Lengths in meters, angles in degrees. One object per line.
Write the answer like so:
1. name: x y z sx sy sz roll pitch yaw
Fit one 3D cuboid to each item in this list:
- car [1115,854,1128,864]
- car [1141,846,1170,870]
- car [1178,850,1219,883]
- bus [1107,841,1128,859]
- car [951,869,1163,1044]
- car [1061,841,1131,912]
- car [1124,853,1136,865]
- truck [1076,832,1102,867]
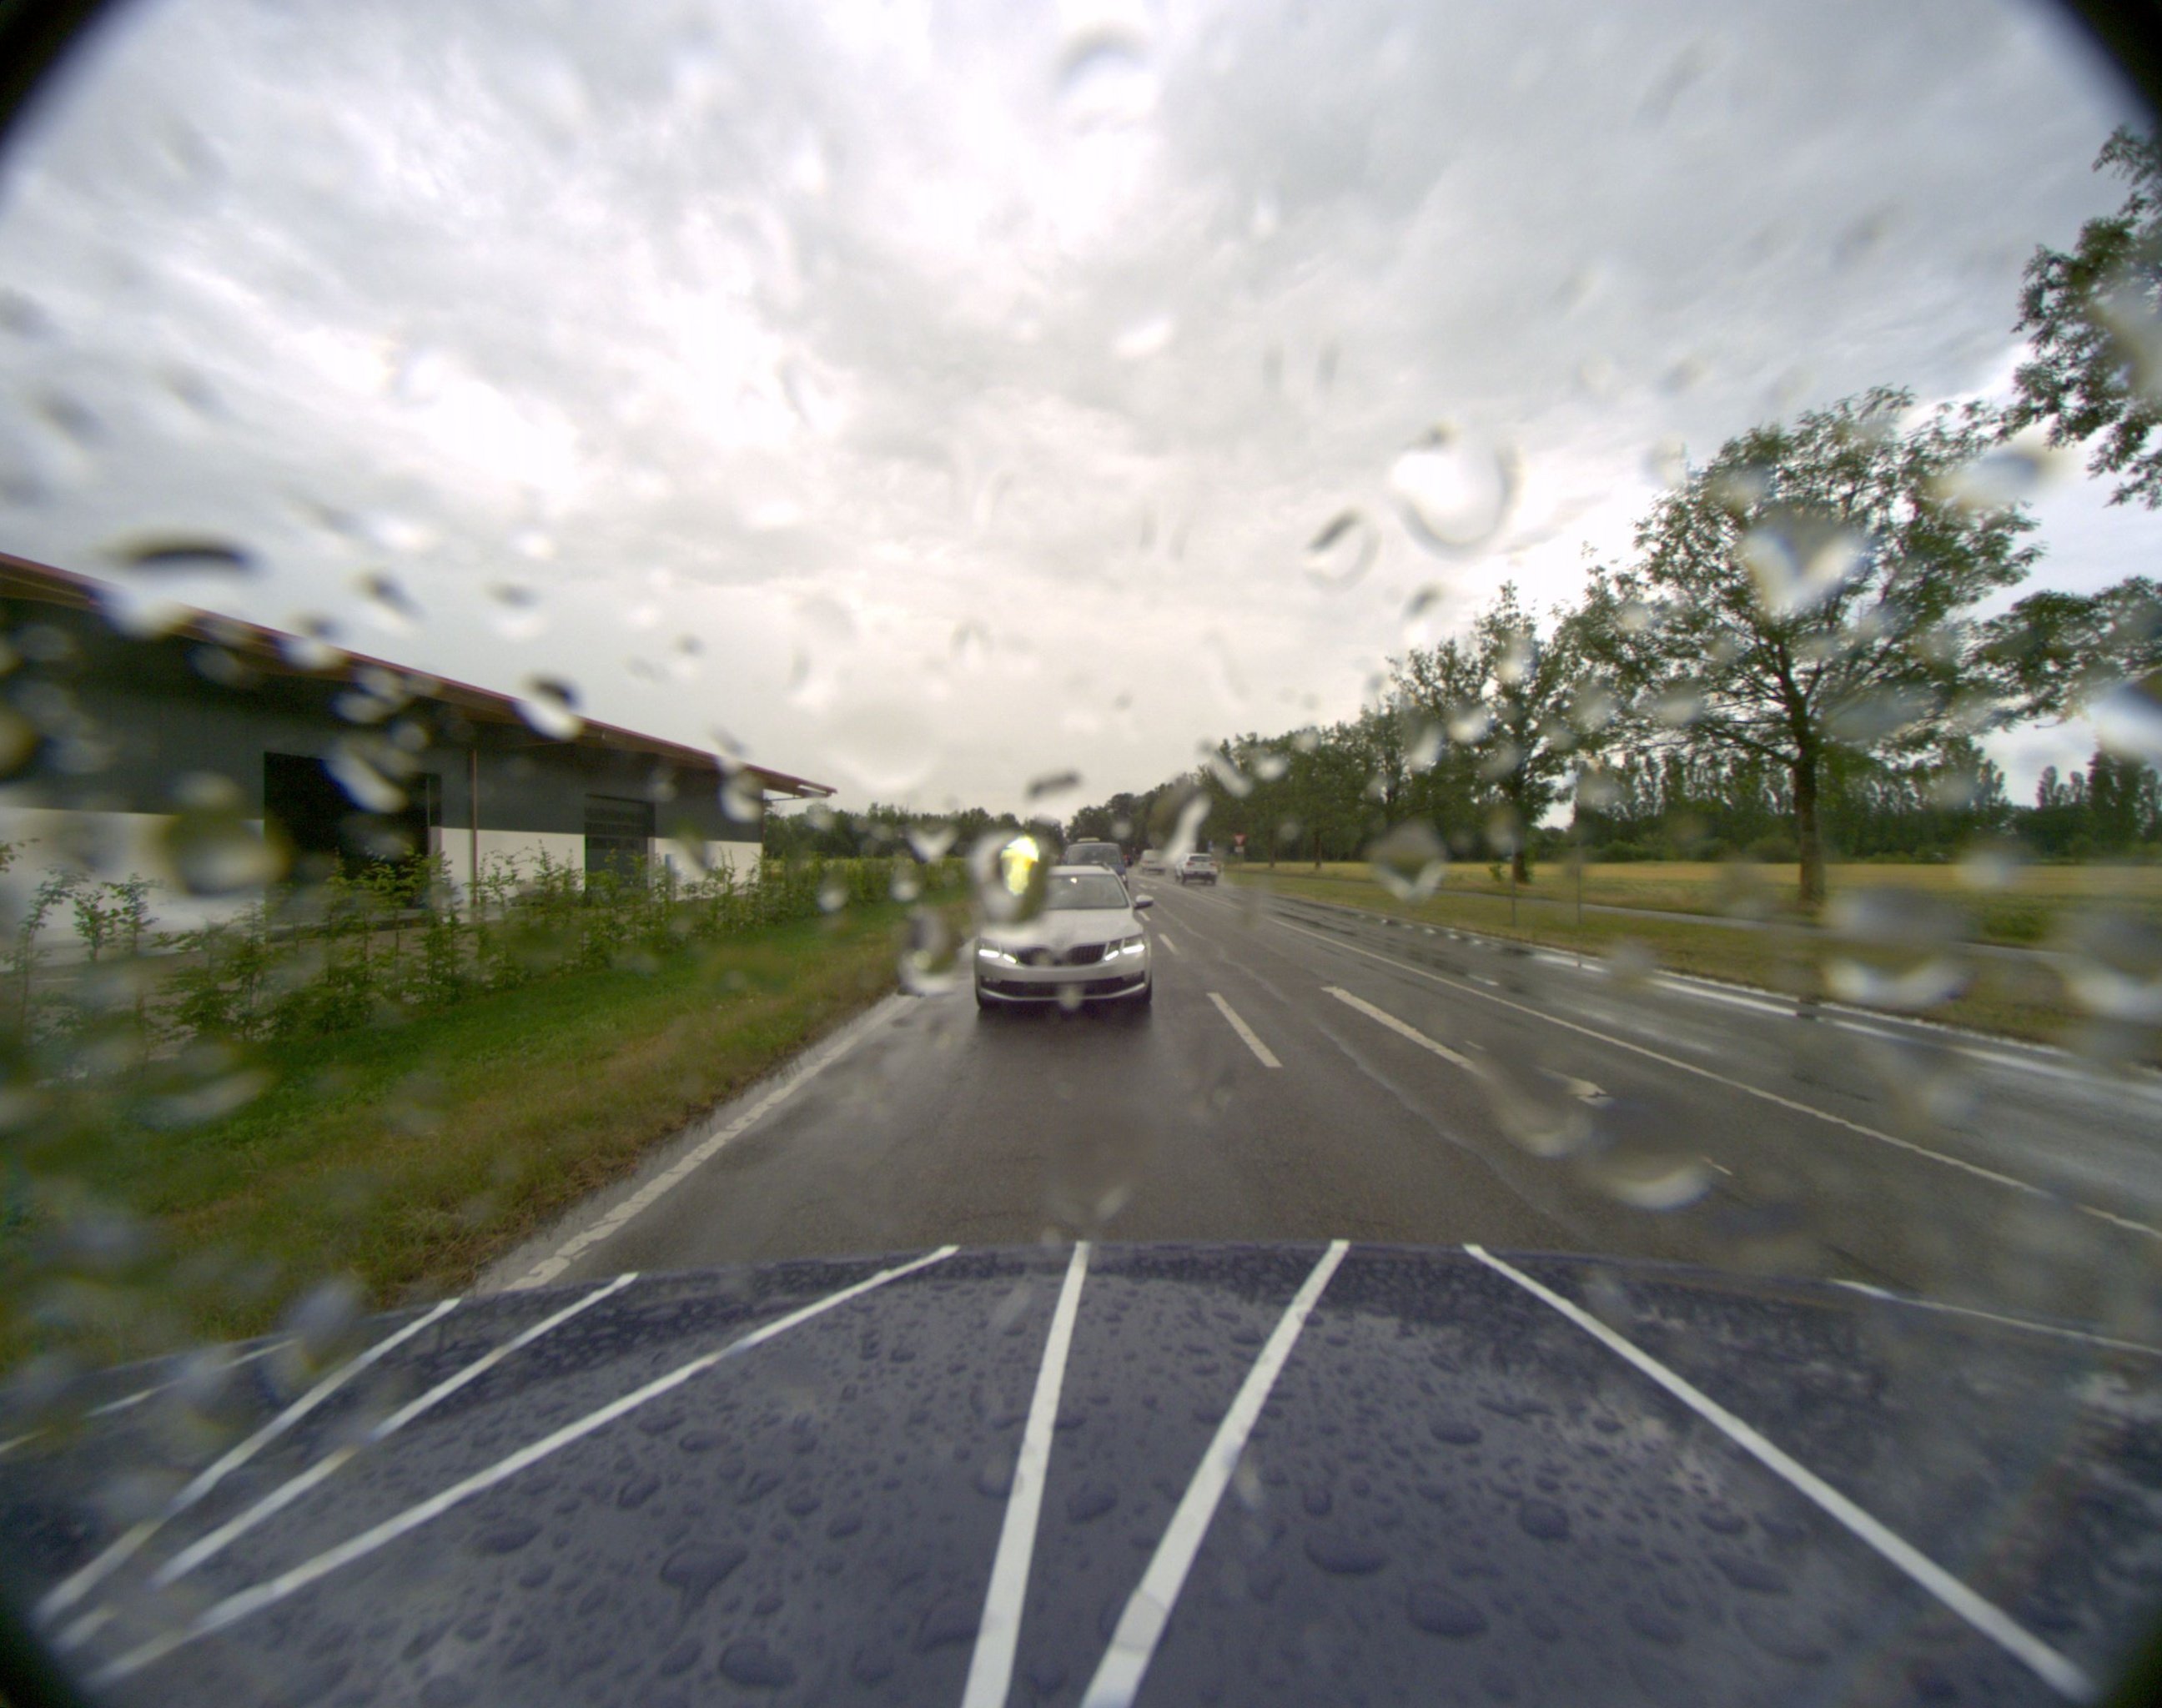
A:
1. car: 6.030 0.718 113.672 1.672 1.442 3.461 1 0 1
2. car: 6.168 0.310 63.253 1.921 1.851 4.684 1 1 0
3. car: 6.402 0.641 41.669 1.708 1.661 4.156 1 0 2
4. bus: 6.165 -0.701 129.821 2.958 2.895 12.473 0 1 0
5. car: -0.182 0.964 9.090 1.843 1.379 4.569 -2 1 1
6. car: 0.432 0.603 22.710 1.892 1.939 4.000 0 0 1
7. car: 6.421 0.644 99.562 1.504 1.521 3.301 2 0 2
8. truck: 0.966 -0.545 90.771 2.931 3.828 14.119 0 0 1
